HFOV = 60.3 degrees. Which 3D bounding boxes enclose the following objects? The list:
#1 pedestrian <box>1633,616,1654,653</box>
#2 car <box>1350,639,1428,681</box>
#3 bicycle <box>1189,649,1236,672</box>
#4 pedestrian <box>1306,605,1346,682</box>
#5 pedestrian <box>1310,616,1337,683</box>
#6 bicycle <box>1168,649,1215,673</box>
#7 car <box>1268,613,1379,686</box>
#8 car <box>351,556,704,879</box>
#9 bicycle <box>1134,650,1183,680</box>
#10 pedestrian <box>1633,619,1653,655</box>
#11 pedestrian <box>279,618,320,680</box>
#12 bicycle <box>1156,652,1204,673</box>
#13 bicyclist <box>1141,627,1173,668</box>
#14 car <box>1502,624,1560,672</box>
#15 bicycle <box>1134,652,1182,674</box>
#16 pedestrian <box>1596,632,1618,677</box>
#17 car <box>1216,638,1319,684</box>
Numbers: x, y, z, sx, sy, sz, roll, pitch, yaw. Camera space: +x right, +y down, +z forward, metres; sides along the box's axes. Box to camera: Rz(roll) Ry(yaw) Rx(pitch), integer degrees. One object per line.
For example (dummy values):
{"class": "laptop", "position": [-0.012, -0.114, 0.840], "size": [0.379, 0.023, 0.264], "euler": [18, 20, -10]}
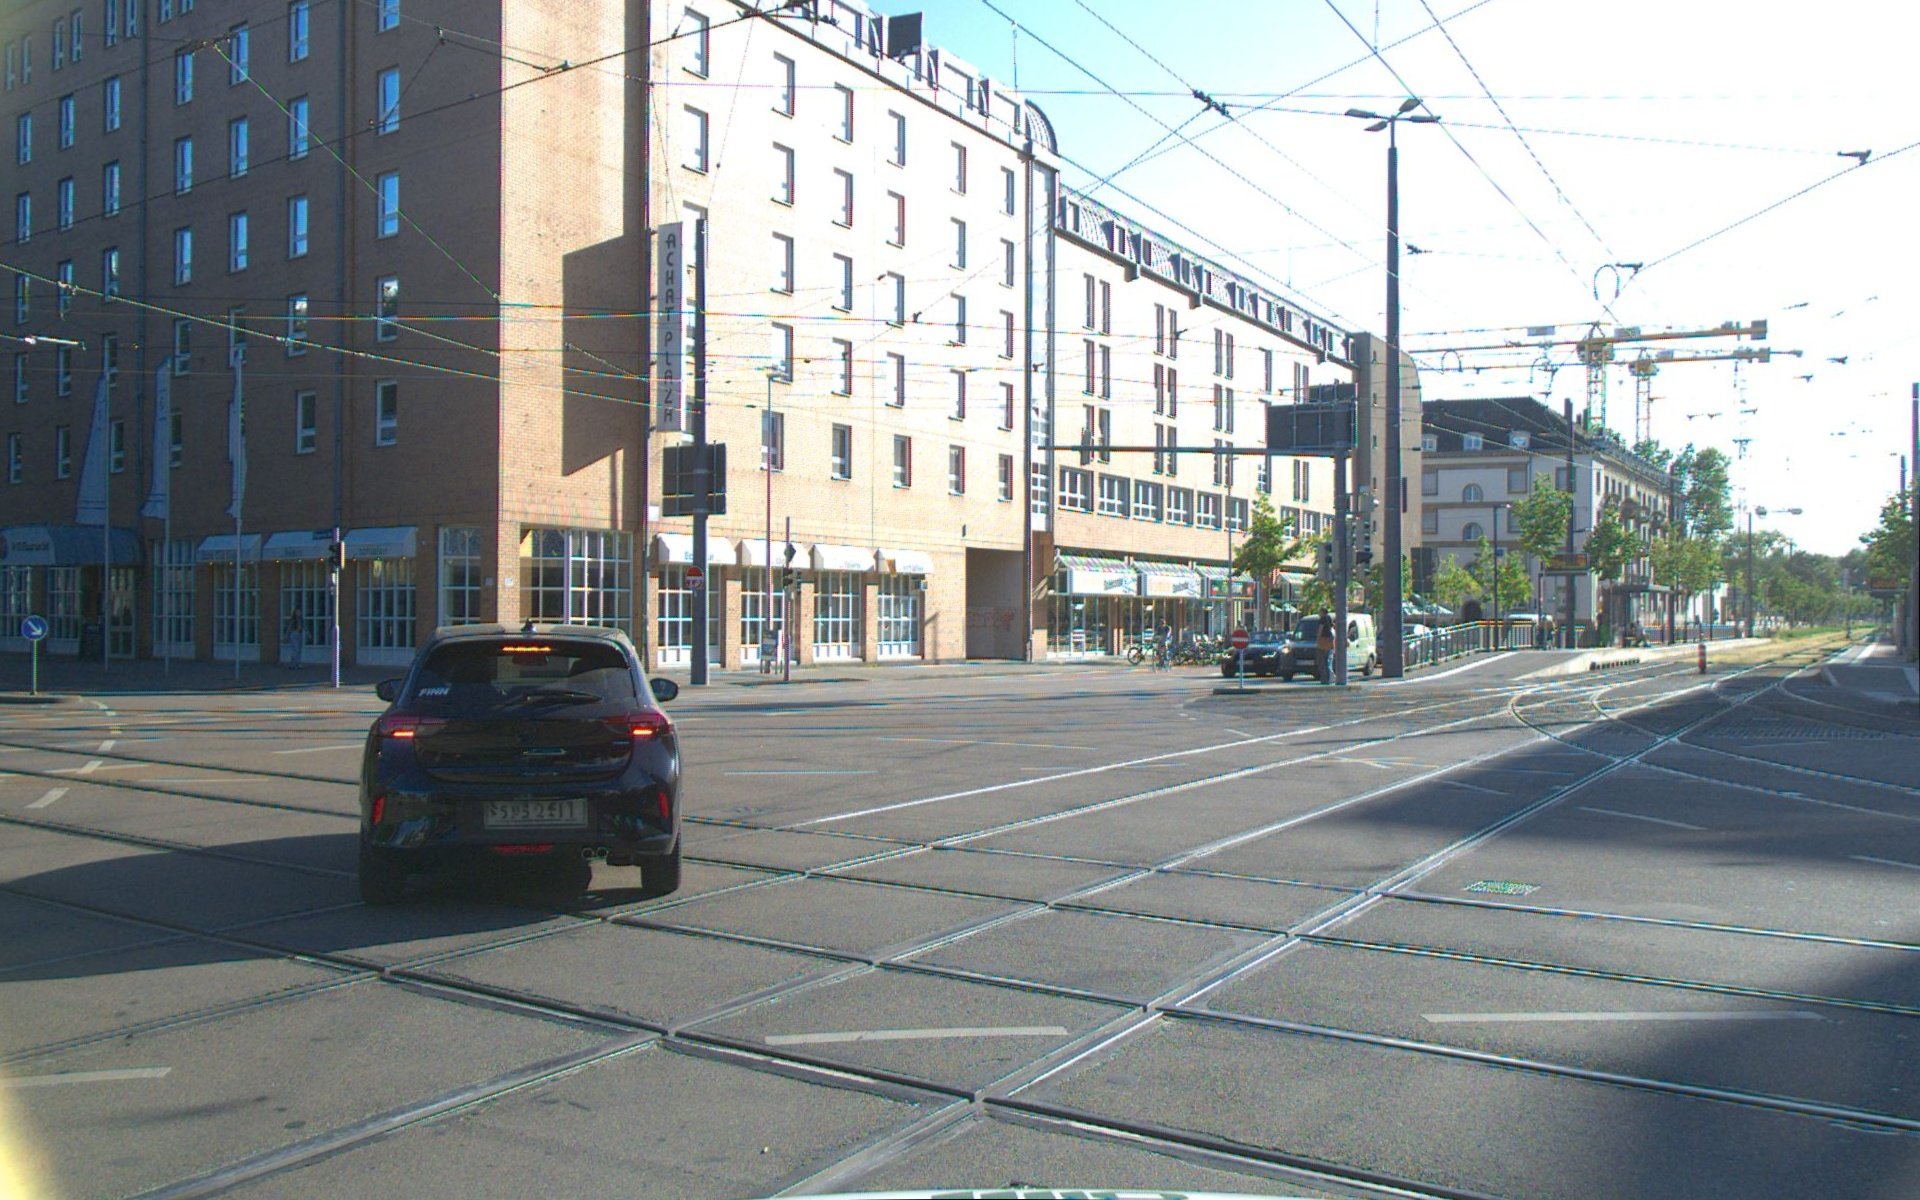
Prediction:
{"class": "pedestrian", "position": [31.931, 1.624, 77.283], "size": [0.843, 1.700, 0.737], "euler": [0, -1, 21]}
{"class": "car", "position": [16.405, 2.309, 63.136], "size": [1.804, 1.474, 4.290], "euler": [-4, -4, 29]}
{"class": "bicycle", "position": [10.672, 2.579, 69.983], "size": [2.003, 0.937, 0.480], "euler": [-3, -4, 42]}
{"class": "pedestrian", "position": [8.381, 1.002, 37.884], "size": [0.708, 1.757, 0.593], "euler": [-2, -3, 32]}
{"class": "pedestrian", "position": [8.809, 1.208, 40.038], "size": [0.568, 1.605, 0.647], "euler": [-1, -3, 17]}
{"class": "bicycle", "position": [9.669, 2.553, 69.138], "size": [2.003, 0.937, 0.480], "euler": [-3, -4, 42]}
{"class": "car", "position": [10.017, 1.392, 45.401], "size": [1.804, 1.868, 4.099], "euler": [-4, -4, 29]}
{"class": "car", "position": [-2.654, 0.601, 9.862], "size": [1.646, 1.528, 3.671], "euler": [1, -1, -18]}
{"class": "bicycle", "position": [6.909, 2.267, 57.446], "size": [0.794, 1.008, 2.504], "euler": [-2, -3, 29]}
{"class": "pedestrian", "position": [32.216, 1.747, 78.042], "size": [0.843, 1.700, 0.784], "euler": [0, -1, 21]}
{"class": "pedestrian", "position": [-18.064, 1.343, 45.231], "size": [0.737, 1.695, 0.739], "euler": [-2, -2, 33]}
{"class": "bicycle", "position": [9.032, 2.574, 67.935], "size": [2.003, 0.860, 0.480], "euler": [-3, -4, 42]}
{"class": "bicyclist", "position": [6.829, 1.652, 57.333], "size": [0.794, 1.401, 0.924], "euler": [-2, -3, 29]}
{"class": "car", "position": [37.780, 3.160, 109.269], "size": [2.331, 3.051, 8.458], "euler": [-2, -2, 28]}
{"class": "bicycle", "position": [7.993, 2.535, 66.820], "size": [2.003, 0.860, 0.480], "euler": [-3, -4, 42]}
{"class": "pedestrian", "position": [27.523, 2.320, 70.360], "size": [0.843, 1.919, 0.737], "euler": [0, -1, 21]}
{"class": "car", "position": [9.339, 1.864, 50.025], "size": [1.804, 1.291, 4.222], "euler": [-4, -4, 29]}
